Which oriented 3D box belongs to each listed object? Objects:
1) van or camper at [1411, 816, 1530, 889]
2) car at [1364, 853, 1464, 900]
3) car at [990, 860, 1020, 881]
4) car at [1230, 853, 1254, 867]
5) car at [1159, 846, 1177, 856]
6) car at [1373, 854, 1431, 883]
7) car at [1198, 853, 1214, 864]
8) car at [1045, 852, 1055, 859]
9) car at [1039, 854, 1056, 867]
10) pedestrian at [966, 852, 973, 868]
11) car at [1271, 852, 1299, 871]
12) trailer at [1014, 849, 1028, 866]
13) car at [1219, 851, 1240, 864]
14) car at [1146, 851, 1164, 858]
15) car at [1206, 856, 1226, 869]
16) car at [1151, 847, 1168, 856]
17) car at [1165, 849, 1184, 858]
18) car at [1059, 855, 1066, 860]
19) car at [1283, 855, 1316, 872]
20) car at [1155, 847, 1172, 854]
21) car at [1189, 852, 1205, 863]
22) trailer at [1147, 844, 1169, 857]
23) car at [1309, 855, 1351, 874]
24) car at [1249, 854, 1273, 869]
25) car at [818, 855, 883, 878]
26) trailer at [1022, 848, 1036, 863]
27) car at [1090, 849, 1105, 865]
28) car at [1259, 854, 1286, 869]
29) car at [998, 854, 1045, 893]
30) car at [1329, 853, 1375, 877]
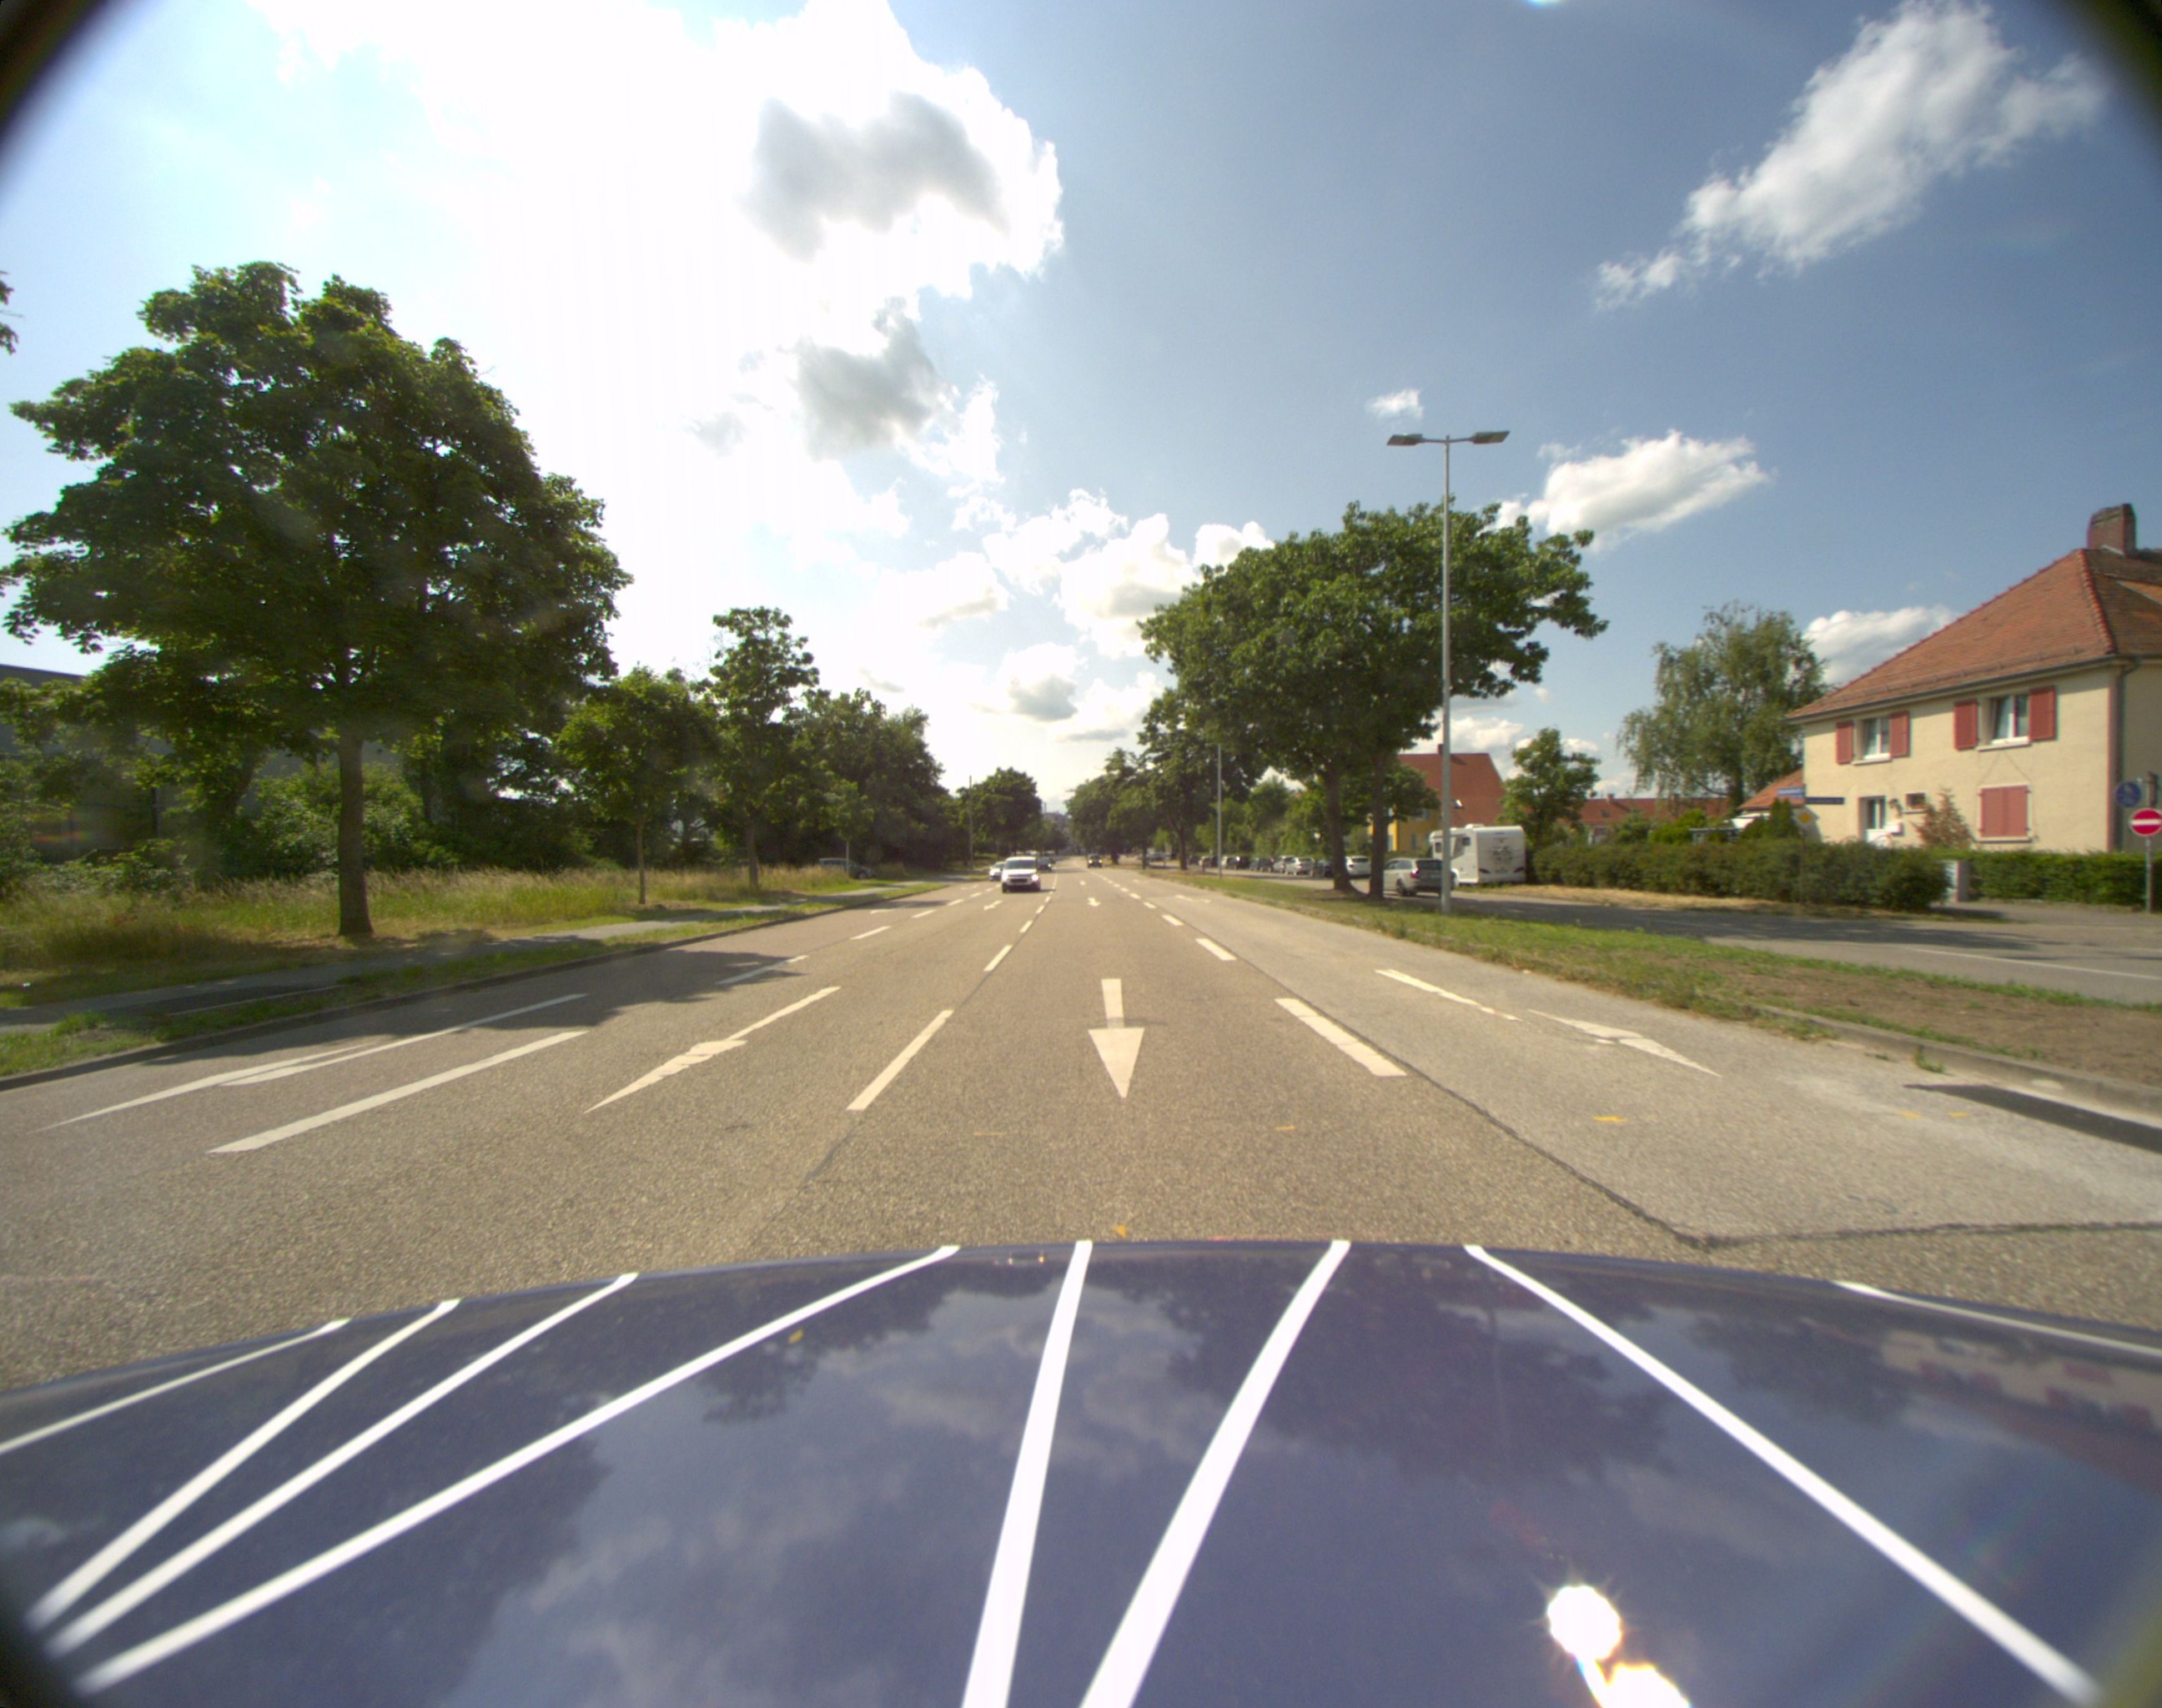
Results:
[{"bbox_3d":[18.608,-0.061,36.848,2.264,3.093,7.322,-3,0,4],"label":"van or camper"},{"bbox_3d":[12.534,0.797,28.910,1.737,1.499,4.652,2,1,1],"label":"car"},{"bbox_3d":[-5.773,1.232,57.932,1.736,1.477,4.093,-1,0,2],"label":"car"},{"bbox_3d":[18.423,0.678,87.201,1.665,1.473,4.103,-3,0,-2],"label":"car"},{"bbox_3d":[19.634,-0.659,171.472,4.007,2.002,1.800,-4,2,-44],"label":"car"},{"bbox_3d":[18.516,0.799,44.011,1.640,1.477,3.992,-3,1,1],"label":"car"},{"bbox_3d":[17.835,0.637,108.773,1.598,1.453,3.534,-3,1,-2],"label":"car"},{"bbox_3d":[-6.296,0.346,154.248,1.892,1.281,3.998,-3,1,-2],"label":"car"},{"bbox_3d":[-3.938,0.729,89.076,1.892,1.281,3.998,-3,1,-2],"label":"car"},{"bbox_3d":[-12.723,0.665,86.683,0.719,1.784,0.740,-3,1,-2],"label":"pedestrian"},{"bbox_3d":[18.496,0.665,69.083,1.406,1.548,3.741,-3,0,-1],"label":"car"},{"bbox_3d":[-8.789,0.486,111.621,1.958,2.338,4.604,0,1,-3],"label":"trailer"},{"bbox_3d":[18.431,0.407,94.390,1.665,1.443,3.845,-3,1,-2],"label":"car"},{"bbox_3d":[17.999,0.061,184.946,3.997,1.502,1.800,-3,1,0],"label":"car"},{"bbox_3d":[18.050,1.141,101.942,1.665,1.603,4.313,-3,1,-2],"label":"car"},{"bbox_3d":[18.600,-0.667,180.058,4.007,2.002,1.800,-4,2,-44],"label":"car"},{"bbox_3d":[19.858,-0.050,161.804,4.008,1.849,1.800,-2,0,-44],"label":"car"},{"bbox_3d":[-4.998,0.909,202.639,1.799,1.501,4.000,-1,0,1],"label":"car"},{"bbox_3d":[18.357,0.764,63.981,1.514,1.362,4.531,-3,0,1],"label":"car"},{"bbox_3d":[19.320,-0.754,177.426,4.007,1.390,1.569,-4,1,-44],"label":"car"},{"bbox_3d":[18.136,0.519,119.156,1.772,1.543,3.998,-3,1,-2],"label":"car"},{"bbox_3d":[20.011,-0.980,196.990,2.820,3.090,5.764,-3,0,37],"label":"trailer"},{"bbox_3d":[18.784,0.790,57.523,1.640,1.298,4.584,-3,0,1],"label":"car"},{"bbox_3d":[18.624,0.760,78.864,1.566,1.387,3.476,-3,1,-1],"label":"car"},{"bbox_3d":[-16.523,0.910,54.620,4.175,1.484,1.784,2,-2,-5],"label":"car"},{"bbox_3d":[-8.995,0.216,132.440,1.999,2.352,4.780,3,1,-1],"label":"trailer"},{"bbox_3d":[2.104,0.334,98.333,1.768,1.893,4.540,-3,1,1],"label":"car"},{"bbox_3d":[18.539,0.718,73.843,1.406,1.387,4.356,-3,0,-1],"label":"car"},{"bbox_3d":[-2.954,0.922,38.747,1.935,1.774,4.715,-3,0,0],"label":"car"},{"bbox_3d":[18.605,0.735,52.259,1.693,1.477,4.123,-3,1,1],"label":"car"}]
